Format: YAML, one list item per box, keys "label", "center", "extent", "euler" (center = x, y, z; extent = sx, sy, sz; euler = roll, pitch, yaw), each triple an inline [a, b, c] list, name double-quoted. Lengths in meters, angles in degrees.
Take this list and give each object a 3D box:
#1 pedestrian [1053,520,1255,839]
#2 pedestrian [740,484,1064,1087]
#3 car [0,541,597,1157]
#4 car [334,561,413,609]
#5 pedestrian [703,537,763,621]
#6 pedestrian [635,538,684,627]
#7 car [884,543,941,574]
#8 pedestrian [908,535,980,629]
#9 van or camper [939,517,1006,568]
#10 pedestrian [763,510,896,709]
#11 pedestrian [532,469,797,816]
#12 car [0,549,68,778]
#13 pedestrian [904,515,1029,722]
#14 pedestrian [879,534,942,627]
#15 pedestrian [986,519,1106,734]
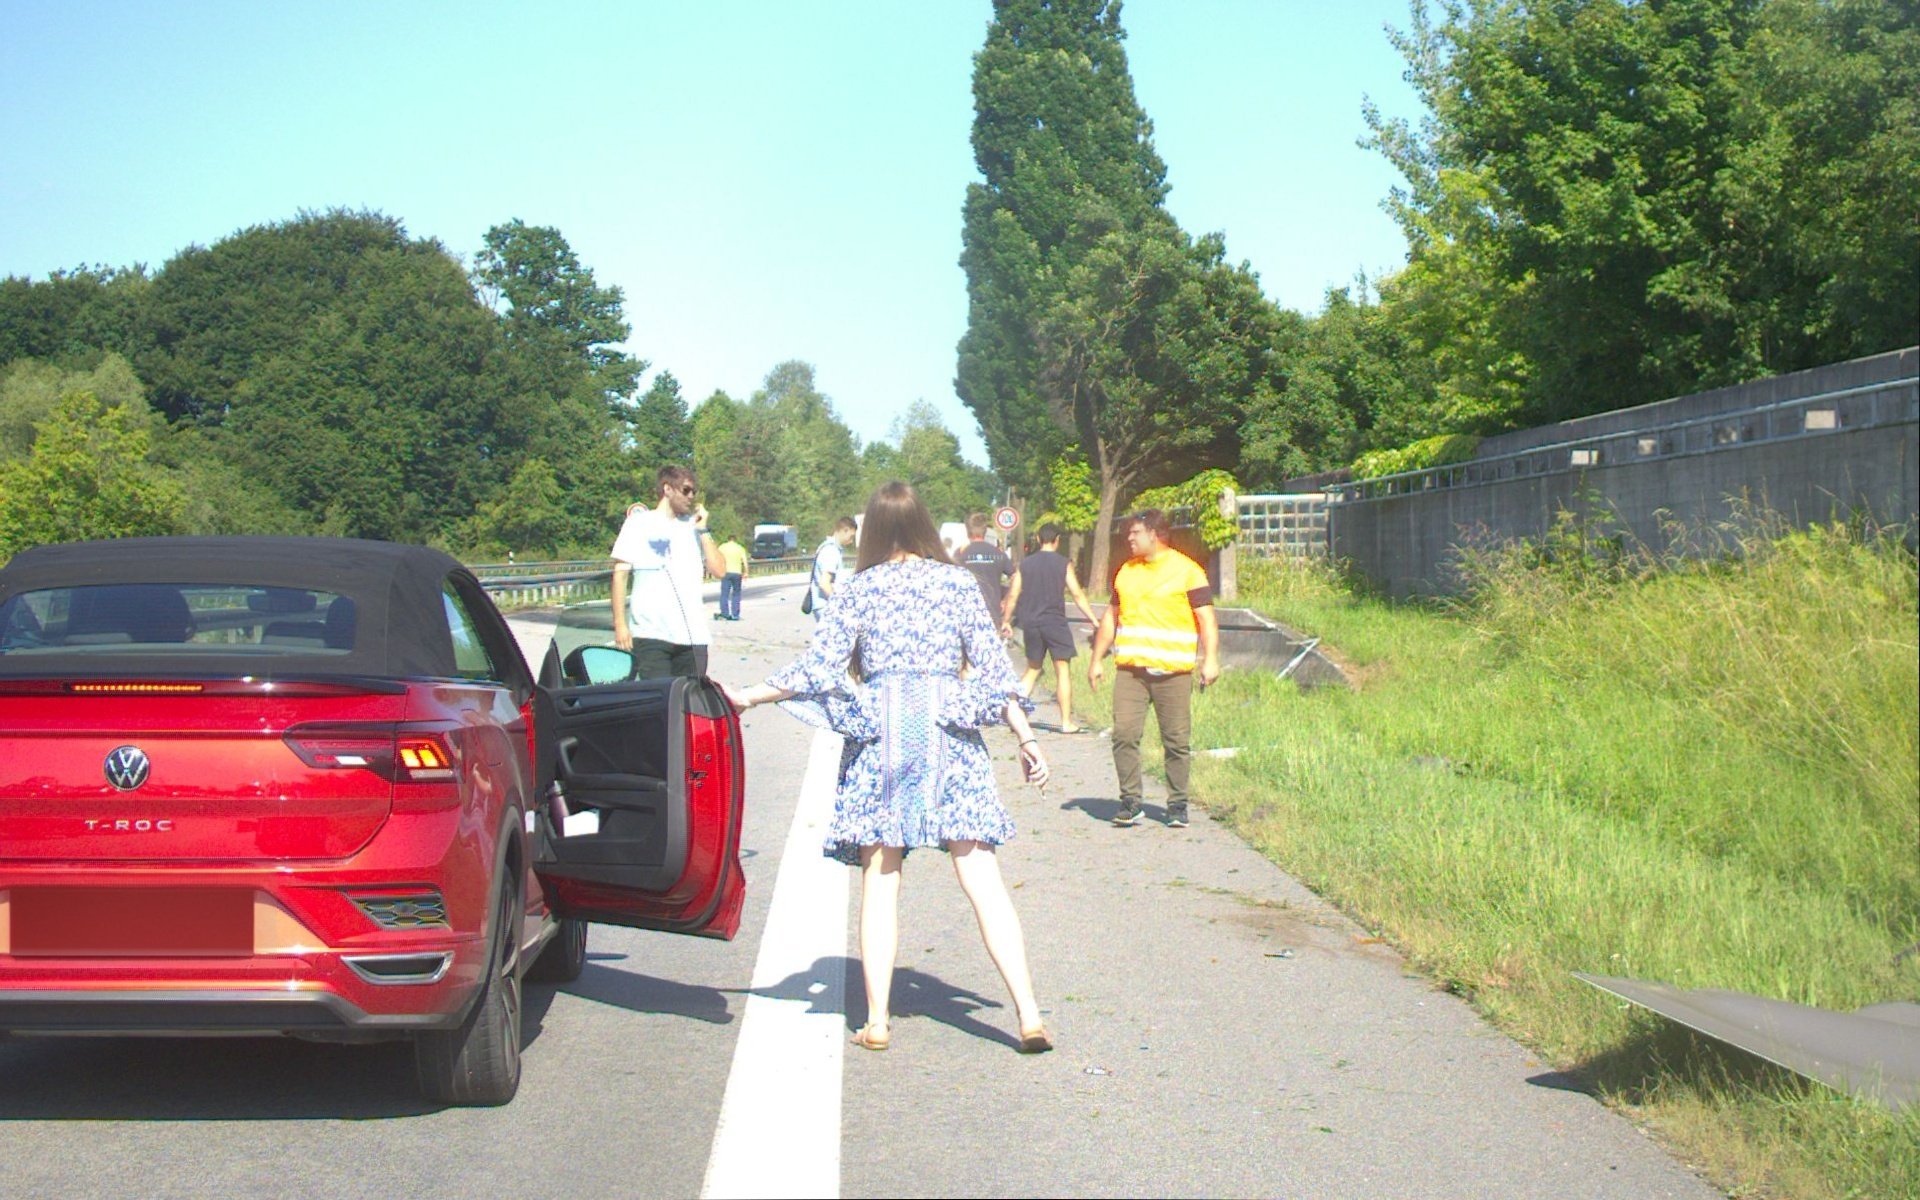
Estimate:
- label: "pedestrian"
  center: [1.030, 0.401, 18.571]
  extent: [0.957, 1.648, 1.278]
  euler: [-1, 1, -2]
- label: "pedestrian"
  center: [-0.173, 0.513, 10.273]
  extent: [0.890, 1.689, 1.128]
  euler: [-1, 1, -1]
- label: "car"
  center: [-2.128, 0.572, 10.461]
  extent: [1.732, 1.482, 4.211]
  euler: [1, 1, -2]
- label: "car"
  center: [-18.378, -0.476, 107.857]
  extent: [1.694, 1.421, 4.305]
  euler: [1, 1, 1]
- label: "pedestrian"
  center: [-4.617, -0.437, 70.075]
  extent: [1.056, 1.683, 1.017]
  euler: [1, 0, 5]
- label: "pedestrian"
  center: [-5.728, -0.340, 65.547]
  extent: [0.791, 1.683, 0.792]
  euler: [1, 0, 3]
- label: "car"
  center: [-2.328, -2.029, 169.228]
  extent: [1.733, 1.482, 4.207]
  euler: [1, 1, 15]
- label: "pedestrian"
  center: [-0.293, -0.323, 62.503]
  extent: [1.007, 1.683, 1.000]
  euler: [1, 0, -22]
- label: "van or camper"
  center: [0.602, -2.703, 162.451]
  extent: [1.995, 2.308, 4.467]
  euler: [1, 1, 16]
- label: "pedestrian"
  center: [-1.192, 0.084, 31.585]
  extent: [1.088, 1.782, 1.107]
  euler: [1, 0, 4]
- label: "pedestrian"
  center: [-1.661, 0.231, 19.555]
  extent: [1.253, 1.906, 1.109]
  euler: [-1, 1, 8]
- label: "car"
  center: [-6.851, 0.402, 21.221]
  extent: [1.694, 1.421, 4.334]
  euler: [1, 1, -2]
- label: "pedestrian"
  center: [0.063, 0.151, 29.686]
  extent: [0.826, 1.753, 0.813]
  euler: [1, 0, 20]
- label: "pedestrian"
  center: [-0.903, -0.363, 63.003]
  extent: [1.113, 1.683, 0.973]
  euler: [1, 0, 0]
- label: "pedestrian"
  center: [0.698, 0.211, 28.124]
  extent: [0.894, 1.719, 0.754]
  euler: [1, 0, -4]
